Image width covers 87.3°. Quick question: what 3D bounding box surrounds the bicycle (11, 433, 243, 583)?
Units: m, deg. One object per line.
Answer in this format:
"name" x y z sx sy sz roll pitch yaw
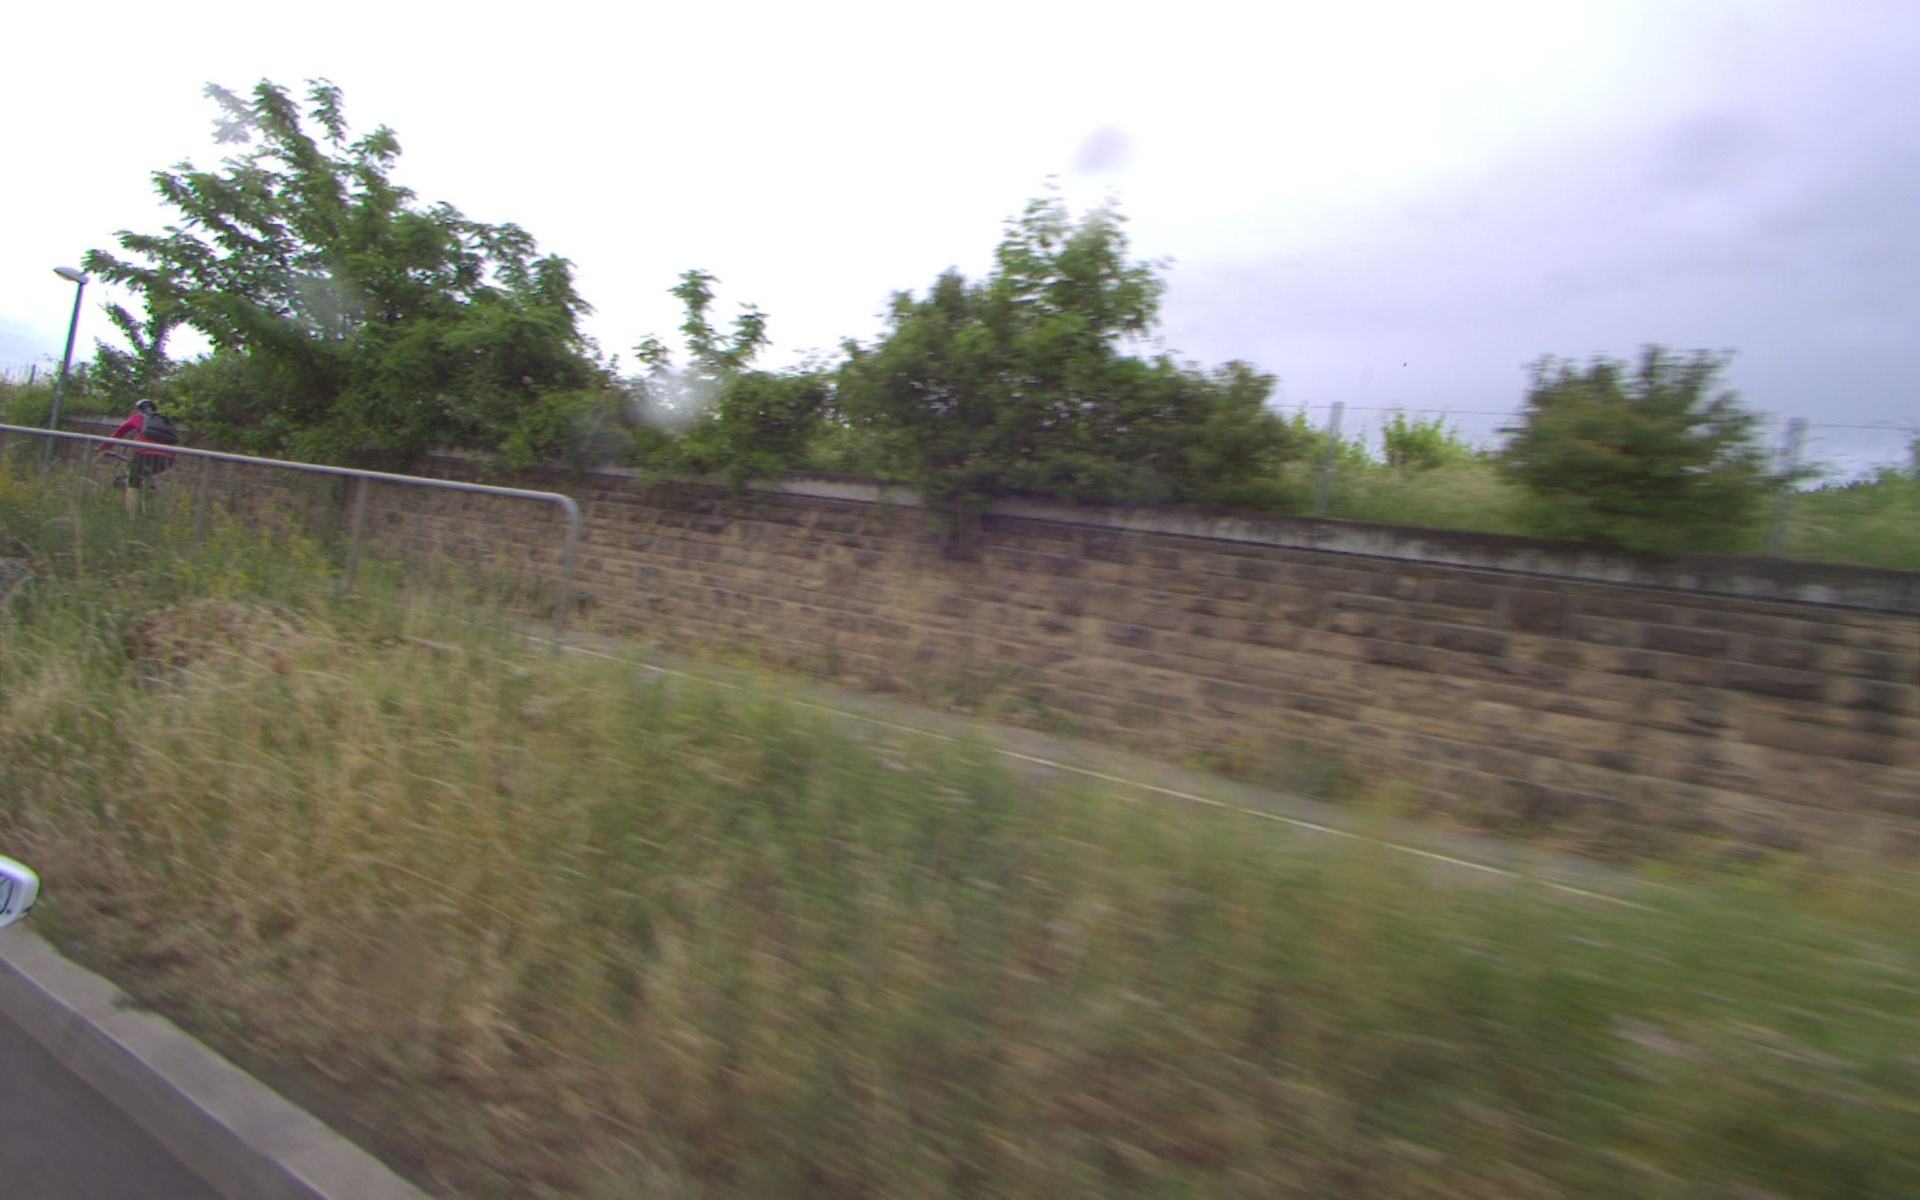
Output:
"bicycle" -10.141 -1.149 12.180 3.427 1.301 0.872 10 -3 30

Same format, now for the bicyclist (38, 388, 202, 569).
"bicyclist" -10.275 -1.484 12.314 1.272 1.928 0.872 9 -3 30
